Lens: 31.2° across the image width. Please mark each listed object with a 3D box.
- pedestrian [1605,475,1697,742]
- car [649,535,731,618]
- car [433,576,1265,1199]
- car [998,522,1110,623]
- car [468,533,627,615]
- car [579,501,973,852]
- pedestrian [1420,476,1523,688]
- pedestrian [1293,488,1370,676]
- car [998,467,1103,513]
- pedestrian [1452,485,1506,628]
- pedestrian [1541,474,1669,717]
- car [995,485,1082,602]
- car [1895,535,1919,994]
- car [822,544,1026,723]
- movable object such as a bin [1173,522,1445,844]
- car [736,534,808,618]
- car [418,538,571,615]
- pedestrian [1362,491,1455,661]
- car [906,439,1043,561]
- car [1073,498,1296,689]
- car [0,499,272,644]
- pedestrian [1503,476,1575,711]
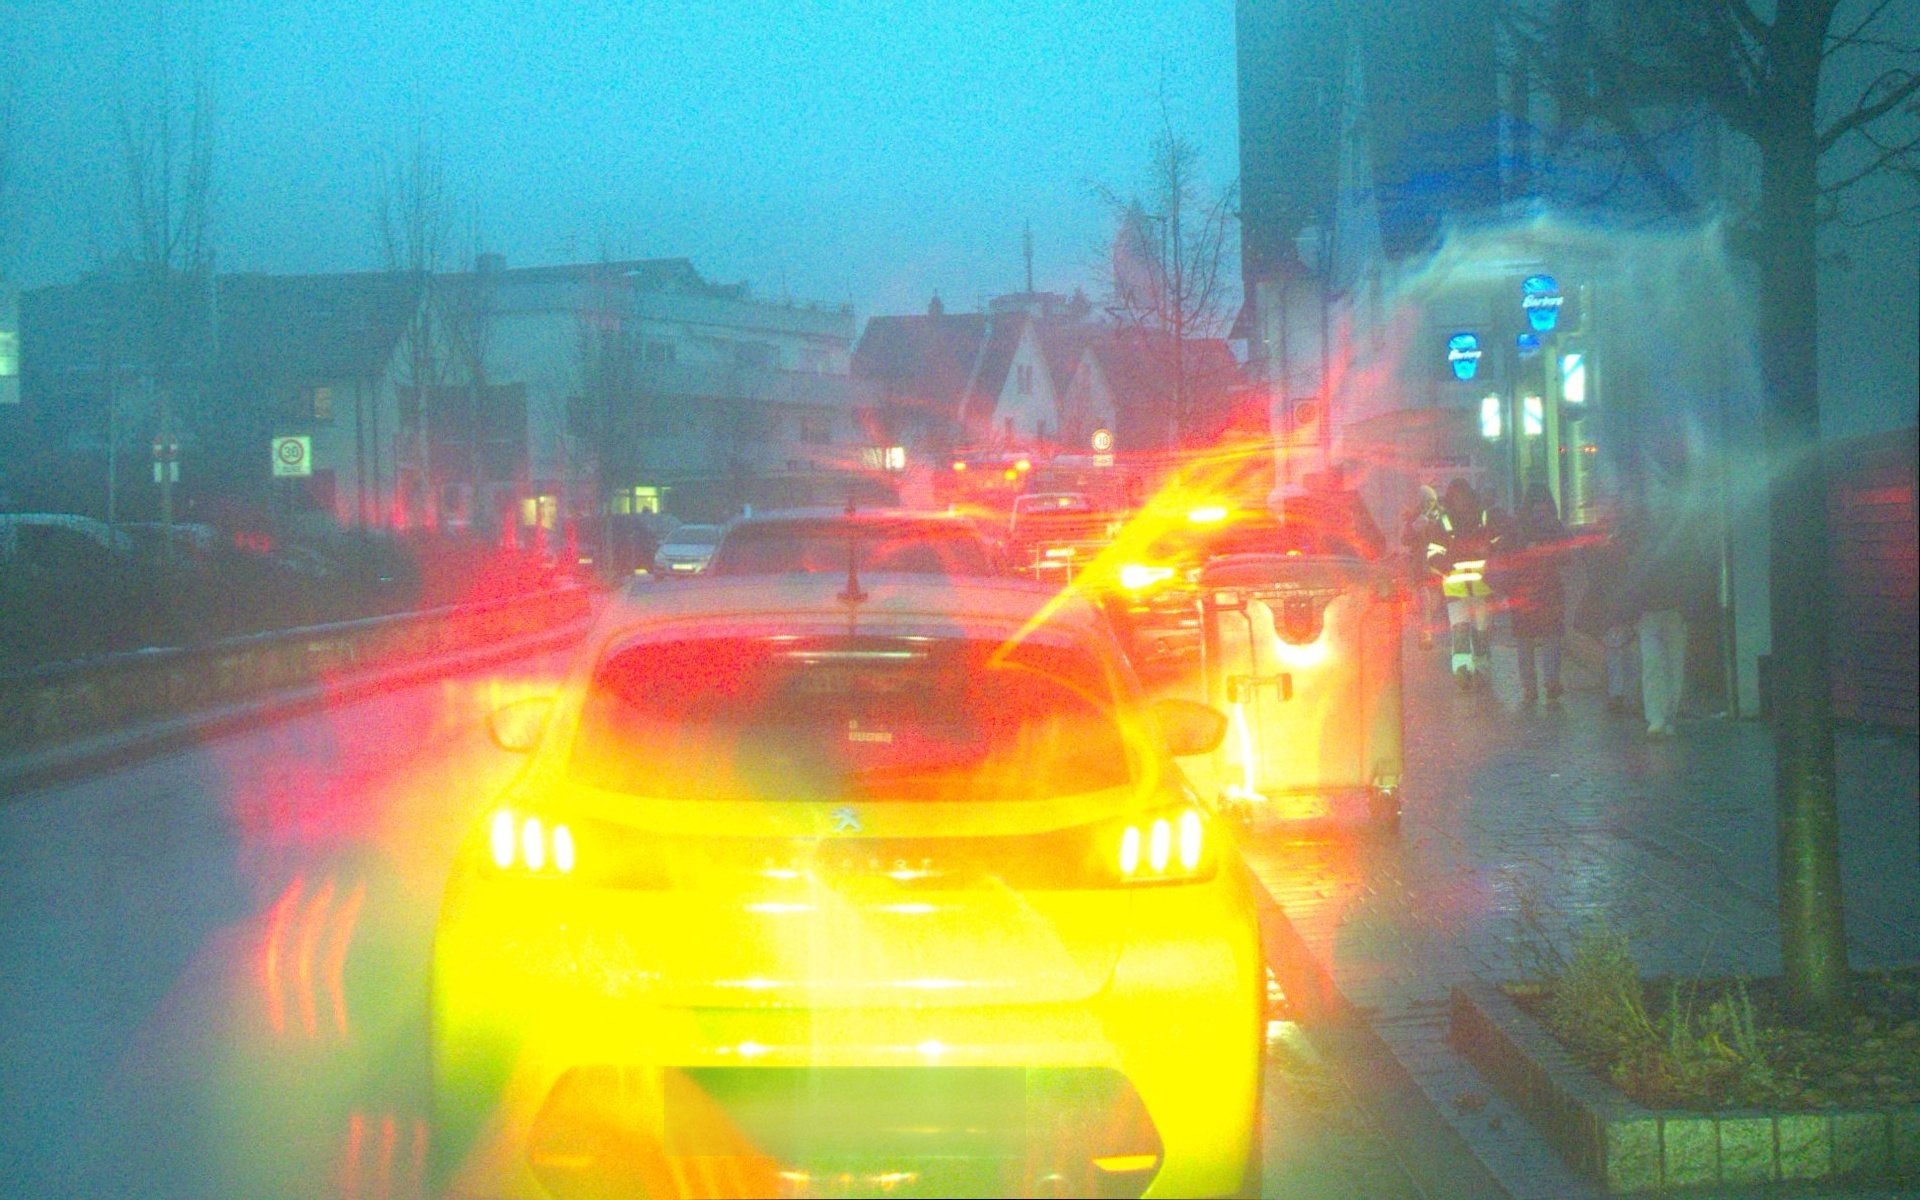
[{"bbox_3d":[4.360,0.059,21.729,0.529,1.647,0.953,0,-1,9],"label":"pedestrian"},{"bbox_3d":[-6.878,-0.577,87.810,1.919,2.021,3.975,1,-1,-2],"label":"car"},{"bbox_3d":[-0.225,0.677,8.012,1.563,1.408,3.018,1,1,0],"label":"car"},{"bbox_3d":[1.742,-0.523,64.996,1.997,1.858,4.083,0,0,0],"label":"car"},{"bbox_3d":[-11.360,-0.677,94.557,4.383,2.159,1.995,0,-2,44],"label":"car"},{"bbox_3d":[-0.857,0.318,17.911,1.766,1.623,3.586,1,1,1],"label":"car"},{"bbox_3d":[4.250,-0.163,28.507,0.712,1.709,1.034,-2,2,13],"label":"pedestrian"},{"bbox_3d":[3.413,-0.168,31.643,0.573,1.694,0.653,-3,0,1],"label":"pedestrian"},{"bbox_3d":[3.818,-4.639,144.899,4.372,1.820,2.000,1,-1,2],"label":"car"},{"bbox_3d":[6.315,-0.529,41.827,0.618,1.721,0.501,0,-1,12],"label":"pedestrian"},{"bbox_3d":[4.598,-0.032,24.559,0.747,1.673,1.052,-2,0,6],"label":"pedestrian"},{"bbox_3d":[1.740,-1.227,77.387,1.870,2.460,4.443,1,-1,1],"label":"car"},{"bbox_3d":[2.465,0.624,3.833,1.728,1.459,4.199,-3,1,2],"label":"car"},{"bbox_3d":[-0.290,0.232,27.849,1.541,1.327,3.311,1,1,-1],"label":"car"},{"bbox_3d":[1.672,0.372,16.731,1.129,1.415,1.417,-4,2,2],"label":"movable object such as a bin"},{"bbox_3d":[-5.216,-0.652,95.716,1.919,2.208,3.975,1,-1,-2],"label":"car"},{"bbox_3d":[-12.407,-0.603,91.509,4.166,1.969,1.818,0,-2,44],"label":"car"},{"bbox_3d":[4.381,-0.243,33.627,0.618,1.621,0.907,-1,2,-14],"label":"pedestrian"},{"bbox_3d":[0.445,-2.673,93.966,3.191,3.021,6.303,1,-1,5],"label":"car"},{"bbox_3d":[2.089,-0.093,33.038,1.735,1.686,4.386,-1,1,-1],"label":"car"},{"bbox_3d":[-10.605,-0.338,40.583,4.625,1.662,2.000,0,0,-3],"label":"car"},{"bbox_3d":[4.492,-0.059,26.696,0.529,1.794,0.864,0,1,9],"label":"pedestrian"}]
